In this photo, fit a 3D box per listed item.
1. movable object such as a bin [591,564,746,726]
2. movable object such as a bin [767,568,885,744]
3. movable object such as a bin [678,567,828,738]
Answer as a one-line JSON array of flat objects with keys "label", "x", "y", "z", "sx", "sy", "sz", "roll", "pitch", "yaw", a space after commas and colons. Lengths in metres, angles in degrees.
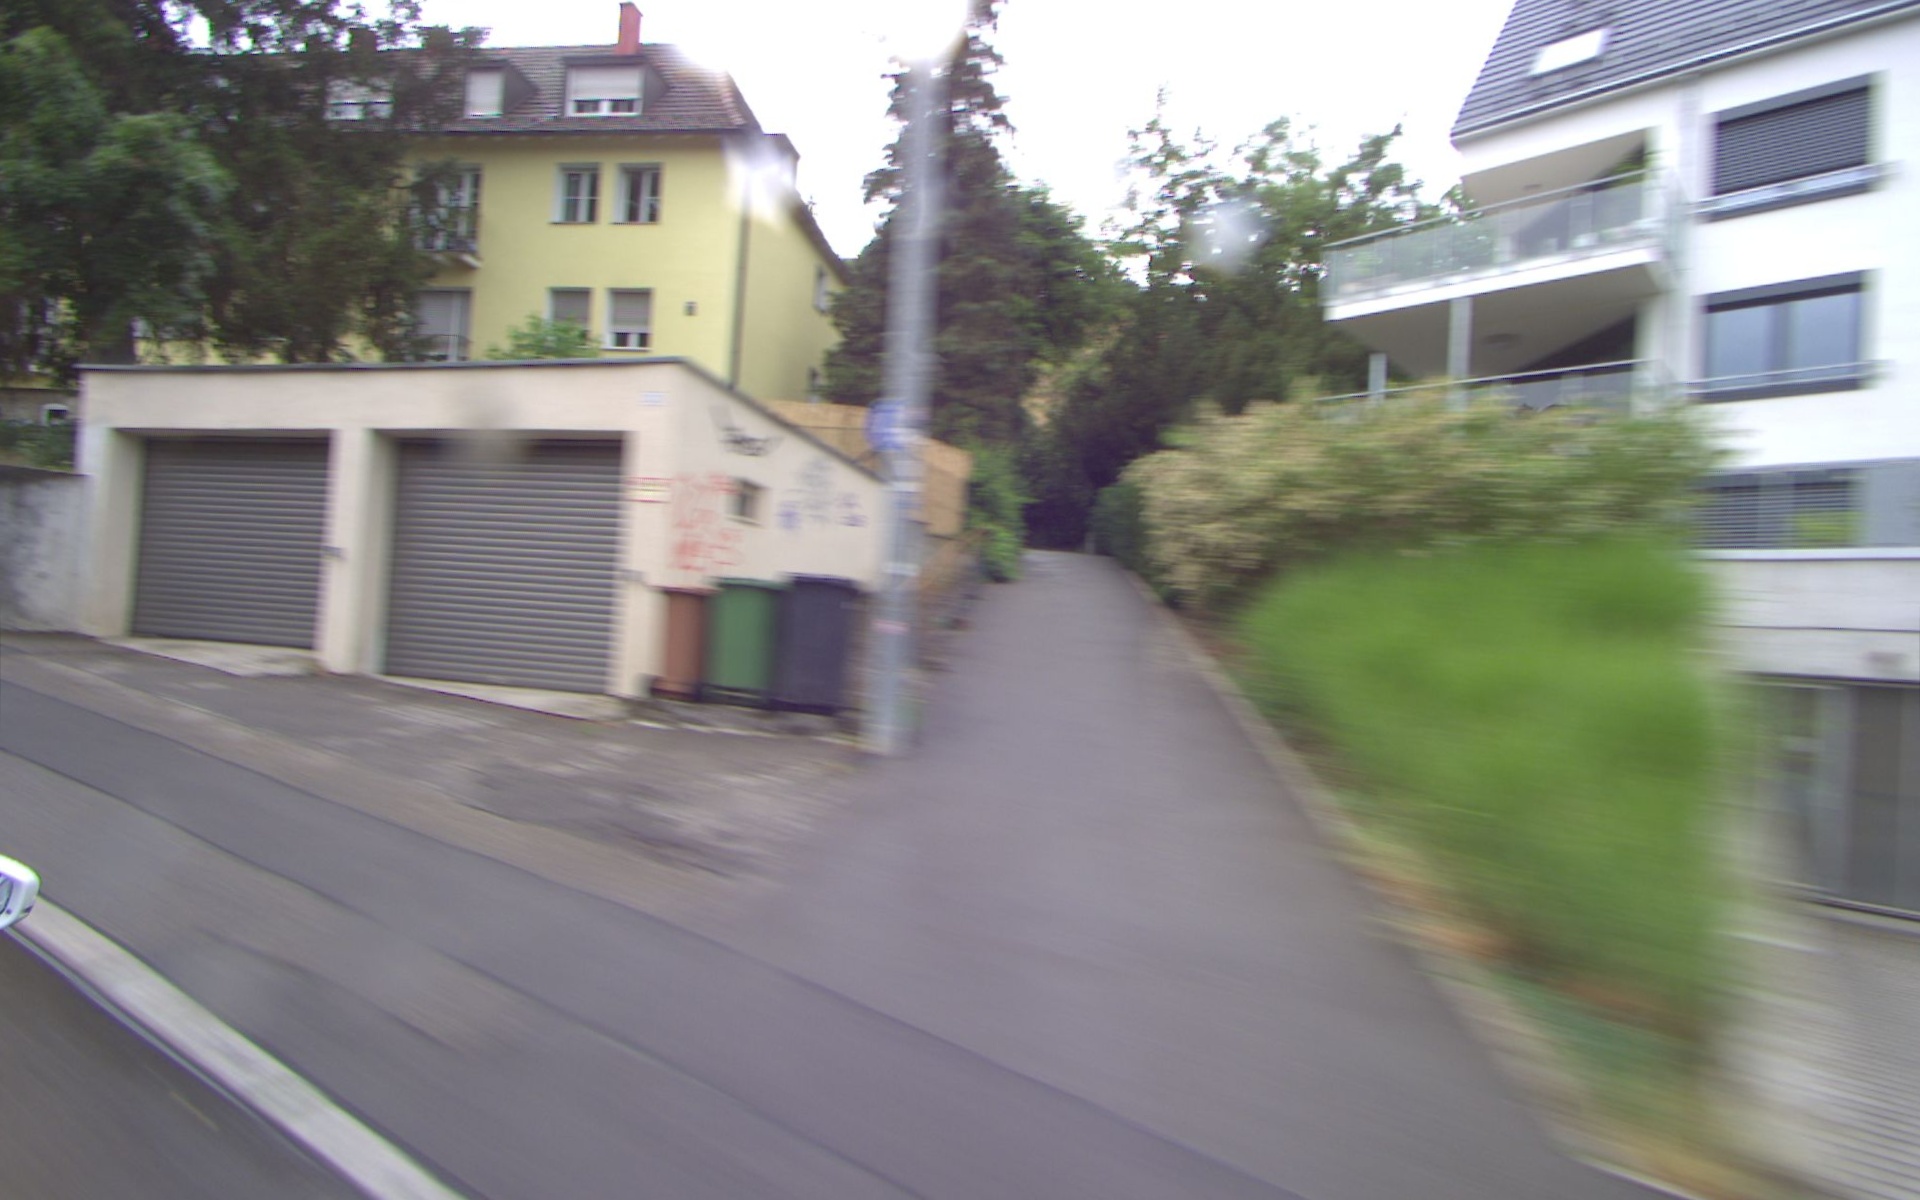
[{"label": "movable object such as a bin", "x": -2.327, "y": 0.344, "z": 8.117, "sx": 0.784, "sy": 1.157, "sz": 0.862, "roll": 6, "pitch": 2, "yaw": 14}, {"label": "movable object such as a bin", "x": -1.014, "y": 0.412, "z": 7.718, "sx": 0.570, "sy": 1.239, "sz": 0.704, "roll": 6, "pitch": 2, "yaw": 14}, {"label": "movable object such as a bin", "x": -1.613, "y": 0.397, "z": 7.956, "sx": 0.772, "sy": 1.201, "sz": 0.862, "roll": 6, "pitch": 2, "yaw": 14}]
